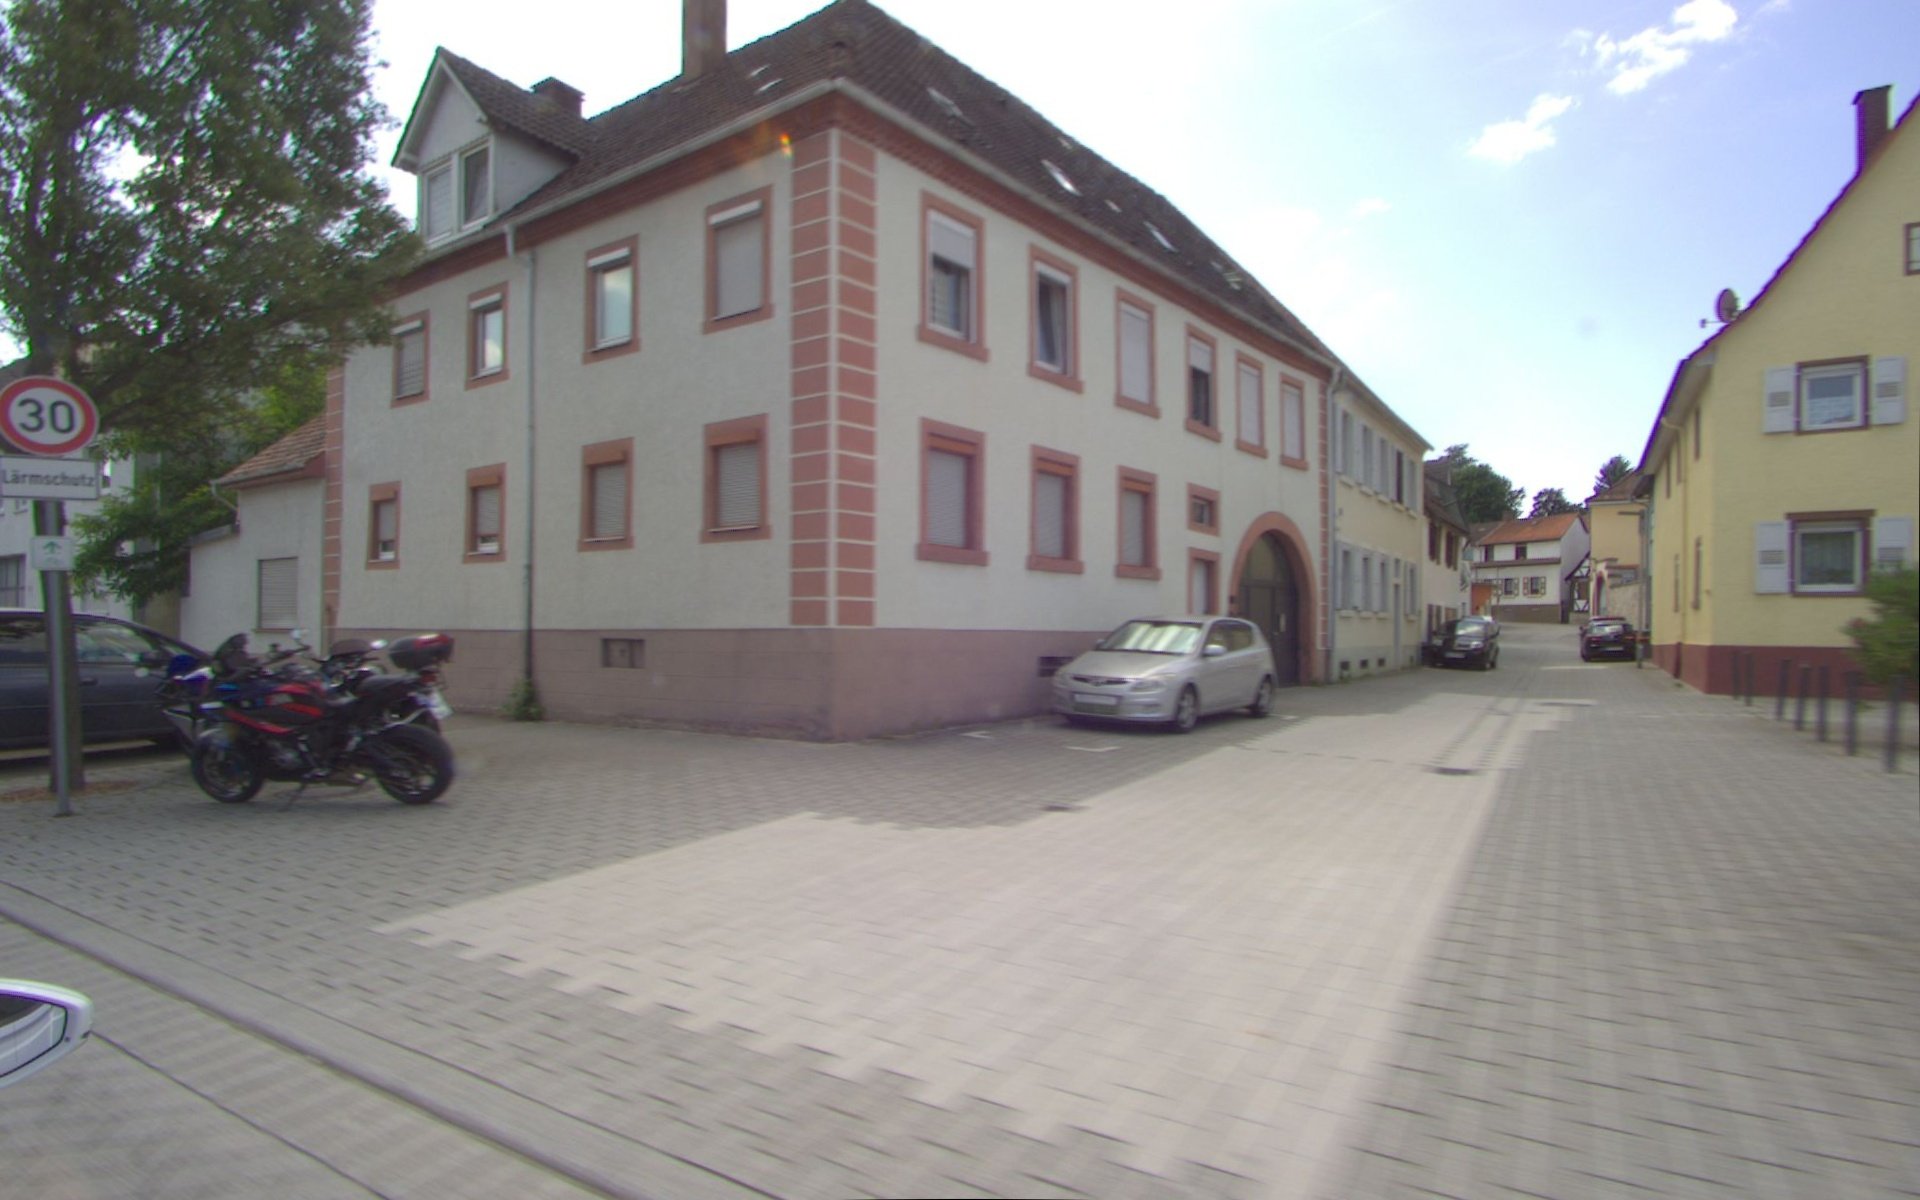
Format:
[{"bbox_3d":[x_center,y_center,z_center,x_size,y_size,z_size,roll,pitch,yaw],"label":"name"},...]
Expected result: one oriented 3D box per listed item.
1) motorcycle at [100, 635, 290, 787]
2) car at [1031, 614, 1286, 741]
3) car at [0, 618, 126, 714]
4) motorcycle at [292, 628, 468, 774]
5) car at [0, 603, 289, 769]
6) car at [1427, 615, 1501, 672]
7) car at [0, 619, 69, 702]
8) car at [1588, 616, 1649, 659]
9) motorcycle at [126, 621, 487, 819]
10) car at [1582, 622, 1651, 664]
[{"bbox_3d":[-7.340,1.000,9.578,2.150,1.315,0.628,-1,0,29],"label":"motorcycle"},{"bbox_3d":[2.869,0.956,13.870,1.803,1.492,3.976,0,-1,40],"label":"car"},{"bbox_3d":[-16.098,1.073,16.730,1.842,1.524,2.787,0,-1,11],"label":"car"},{"bbox_3d":[-6.038,0.966,10.366,2.201,1.316,0.954,-1,1,43],"label":"motorcycle"},{"bbox_3d":[-9.833,0.856,10.856,1.824,1.598,3.841,0,0,31],"label":"car"},{"bbox_3d":[15.842,1.305,31.380,1.585,1.641,3.652,1,0,34],"label":"car"},{"bbox_3d":[-18.651,1.106,18.250,1.791,1.524,3.237,0,-1,6],"label":"car"},{"bbox_3d":[26.541,1.492,40.330,1.973,1.642,3.520,-1,-1,35],"label":"car"},{"bbox_3d":[-4.987,0.878,7.826,2.184,1.413,0.872,0,0,-12],"label":"motorcycle"},{"bbox_3d":[23.642,1.515,35.992,1.973,1.363,3.520,-1,-1,35],"label":"car"}]
